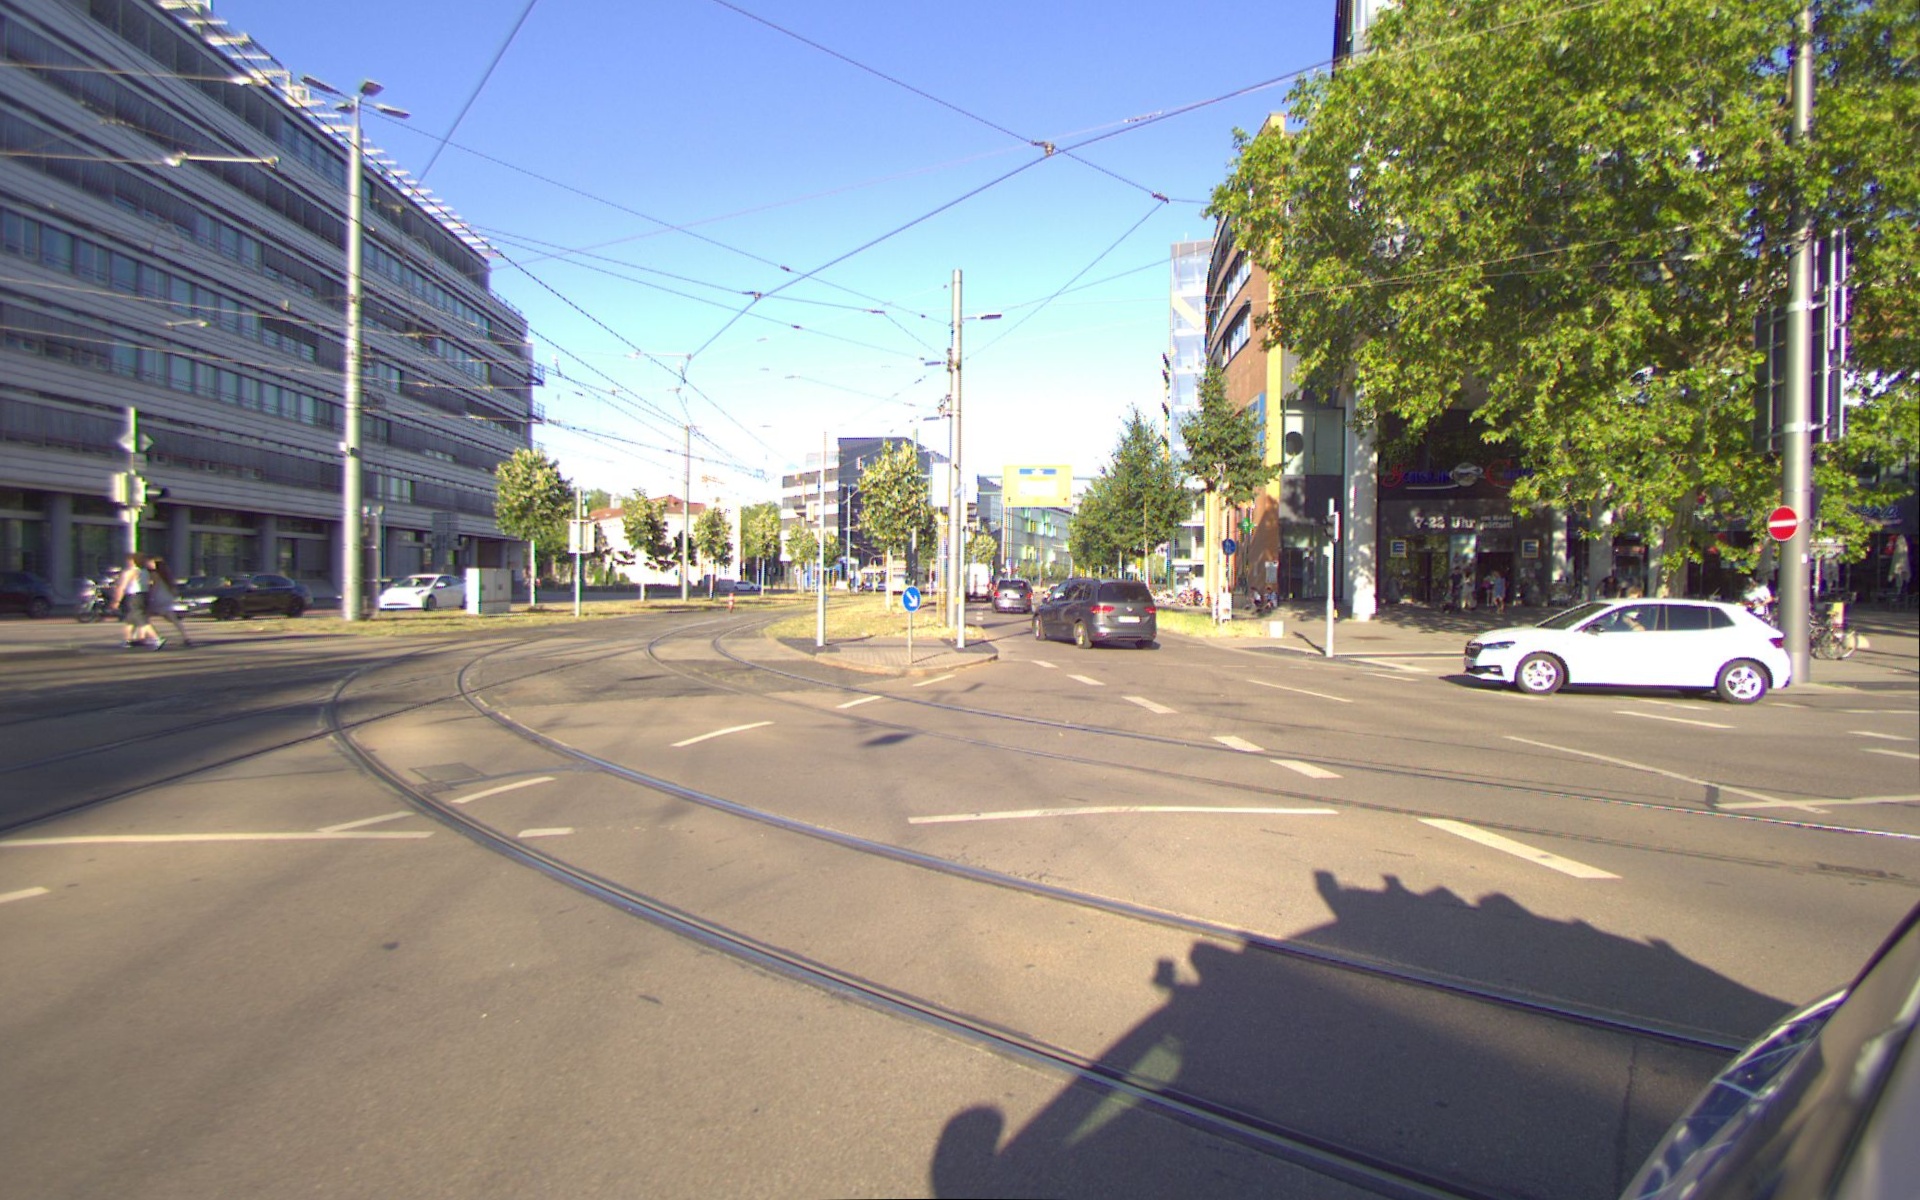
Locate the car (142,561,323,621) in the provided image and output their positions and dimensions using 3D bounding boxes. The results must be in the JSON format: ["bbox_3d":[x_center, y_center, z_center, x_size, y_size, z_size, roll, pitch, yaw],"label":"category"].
[{"bbox_3d":[-21.457,-0.258,30.104,1.871,1.642,4.517,1,0,5],"label":"car"}]

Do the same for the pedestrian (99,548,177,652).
[{"bbox_3d":[-15.126,-0.015,18.652,0.946,1.865,0.700,0,1,-21],"label":"pedestrian"}]

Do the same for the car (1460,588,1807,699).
[{"bbox_3d":[9.818,0.577,15.087,3.942,1.470,1.629,1,1,15],"label":"car"}]

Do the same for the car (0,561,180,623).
[{"bbox_3d":[-24.847,-0.218,28.954,1.871,1.642,3.860,1,0,5],"label":"car"}]

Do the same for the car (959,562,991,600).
[{"bbox_3d":[0.996,-1.318,71.678,1.961,2.511,5.976,1,0,-2],"label":"car"}]

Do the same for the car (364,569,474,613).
[{"bbox_3d":[-21.460,-0.339,40.346,1.871,1.642,4.165,1,0,5],"label":"car"}]

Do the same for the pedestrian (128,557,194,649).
[{"bbox_3d":[-15.276,0.045,19.360,0.828,1.709,0.649,1,1,-21],"label":"pedestrian"}]

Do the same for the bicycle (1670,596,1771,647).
[{"bbox_3d":[17.971,0.508,23.937,1.807,1.143,0.776,1,1,-4],"label":"bicycle"}]

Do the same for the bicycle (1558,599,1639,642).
[{"bbox_3d":[16.001,0.509,25.380,1.667,1.049,0.549,1,1,1],"label":"bicycle"}]

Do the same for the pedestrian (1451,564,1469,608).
[{"bbox_3d":[20.317,-0.586,41.139,0.588,1.777,0.589,1,1,31],"label":"pedestrian"}]

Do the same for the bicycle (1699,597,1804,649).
[{"bbox_3d":[18.048,0.514,23.100,1.807,1.143,0.776,1,1,-4],"label":"bicycle"}]

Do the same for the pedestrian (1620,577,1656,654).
[{"bbox_3d":[13.996,0.312,20.891,0.568,1.557,0.479,1,1,31],"label":"pedestrian"}]

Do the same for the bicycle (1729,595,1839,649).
[{"bbox_3d":[18.094,0.474,22.249,1.807,1.143,0.776,1,1,-4],"label":"bicycle"}]

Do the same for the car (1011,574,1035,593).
[{"bbox_3d":[6.789,-1.768,108.725,1.591,2.039,3.863,1,1,19],"label":"car"}]

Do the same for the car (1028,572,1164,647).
[{"bbox_3d":[3.156,0.183,24.355,1.584,1.623,4.185,2,0,-17],"label":"car"}]

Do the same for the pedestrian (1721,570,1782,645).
[{"bbox_3d":[19.164,0.174,24.527,0.877,1.787,0.730,1,-1,5],"label":"pedestrian"}]

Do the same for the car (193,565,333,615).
[{"bbox_3d":[-24.512,-0.337,35.796,1.871,1.642,4.165,1,0,5],"label":"car"}]

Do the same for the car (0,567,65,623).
[{"bbox_3d":[-29.430,-0.164,30.038,1.871,1.642,4.165,1,0,5],"label":"car"}]

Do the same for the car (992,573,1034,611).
[{"bbox_3d":[2.435,-0.377,46.992,1.831,1.652,4.260,1,1,2],"label":"car"}]

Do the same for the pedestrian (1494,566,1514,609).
[{"bbox_3d":[21.863,-0.504,40.676,0.587,1.677,0.589,1,1,18],"label":"pedestrian"}]

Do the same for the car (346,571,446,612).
[{"bbox_3d":[-23.575,-0.378,42.468,1.601,1.616,3.993,0,1,7],"label":"car"}]

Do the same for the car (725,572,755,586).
[{"bbox_3d":[-30.907,-2.896,142.141,3.916,1.883,2.005,0,1,-19],"label":"car"}]

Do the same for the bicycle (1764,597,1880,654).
[{"bbox_3d":[18.208,0.527,21.409,1.807,1.143,0.776,1,1,-4],"label":"bicycle"}]

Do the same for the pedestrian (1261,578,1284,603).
[{"bbox_3d":[13.983,-0.448,45.303,0.761,1.094,0.683,1,1,-11],"label":"pedestrian"}]
